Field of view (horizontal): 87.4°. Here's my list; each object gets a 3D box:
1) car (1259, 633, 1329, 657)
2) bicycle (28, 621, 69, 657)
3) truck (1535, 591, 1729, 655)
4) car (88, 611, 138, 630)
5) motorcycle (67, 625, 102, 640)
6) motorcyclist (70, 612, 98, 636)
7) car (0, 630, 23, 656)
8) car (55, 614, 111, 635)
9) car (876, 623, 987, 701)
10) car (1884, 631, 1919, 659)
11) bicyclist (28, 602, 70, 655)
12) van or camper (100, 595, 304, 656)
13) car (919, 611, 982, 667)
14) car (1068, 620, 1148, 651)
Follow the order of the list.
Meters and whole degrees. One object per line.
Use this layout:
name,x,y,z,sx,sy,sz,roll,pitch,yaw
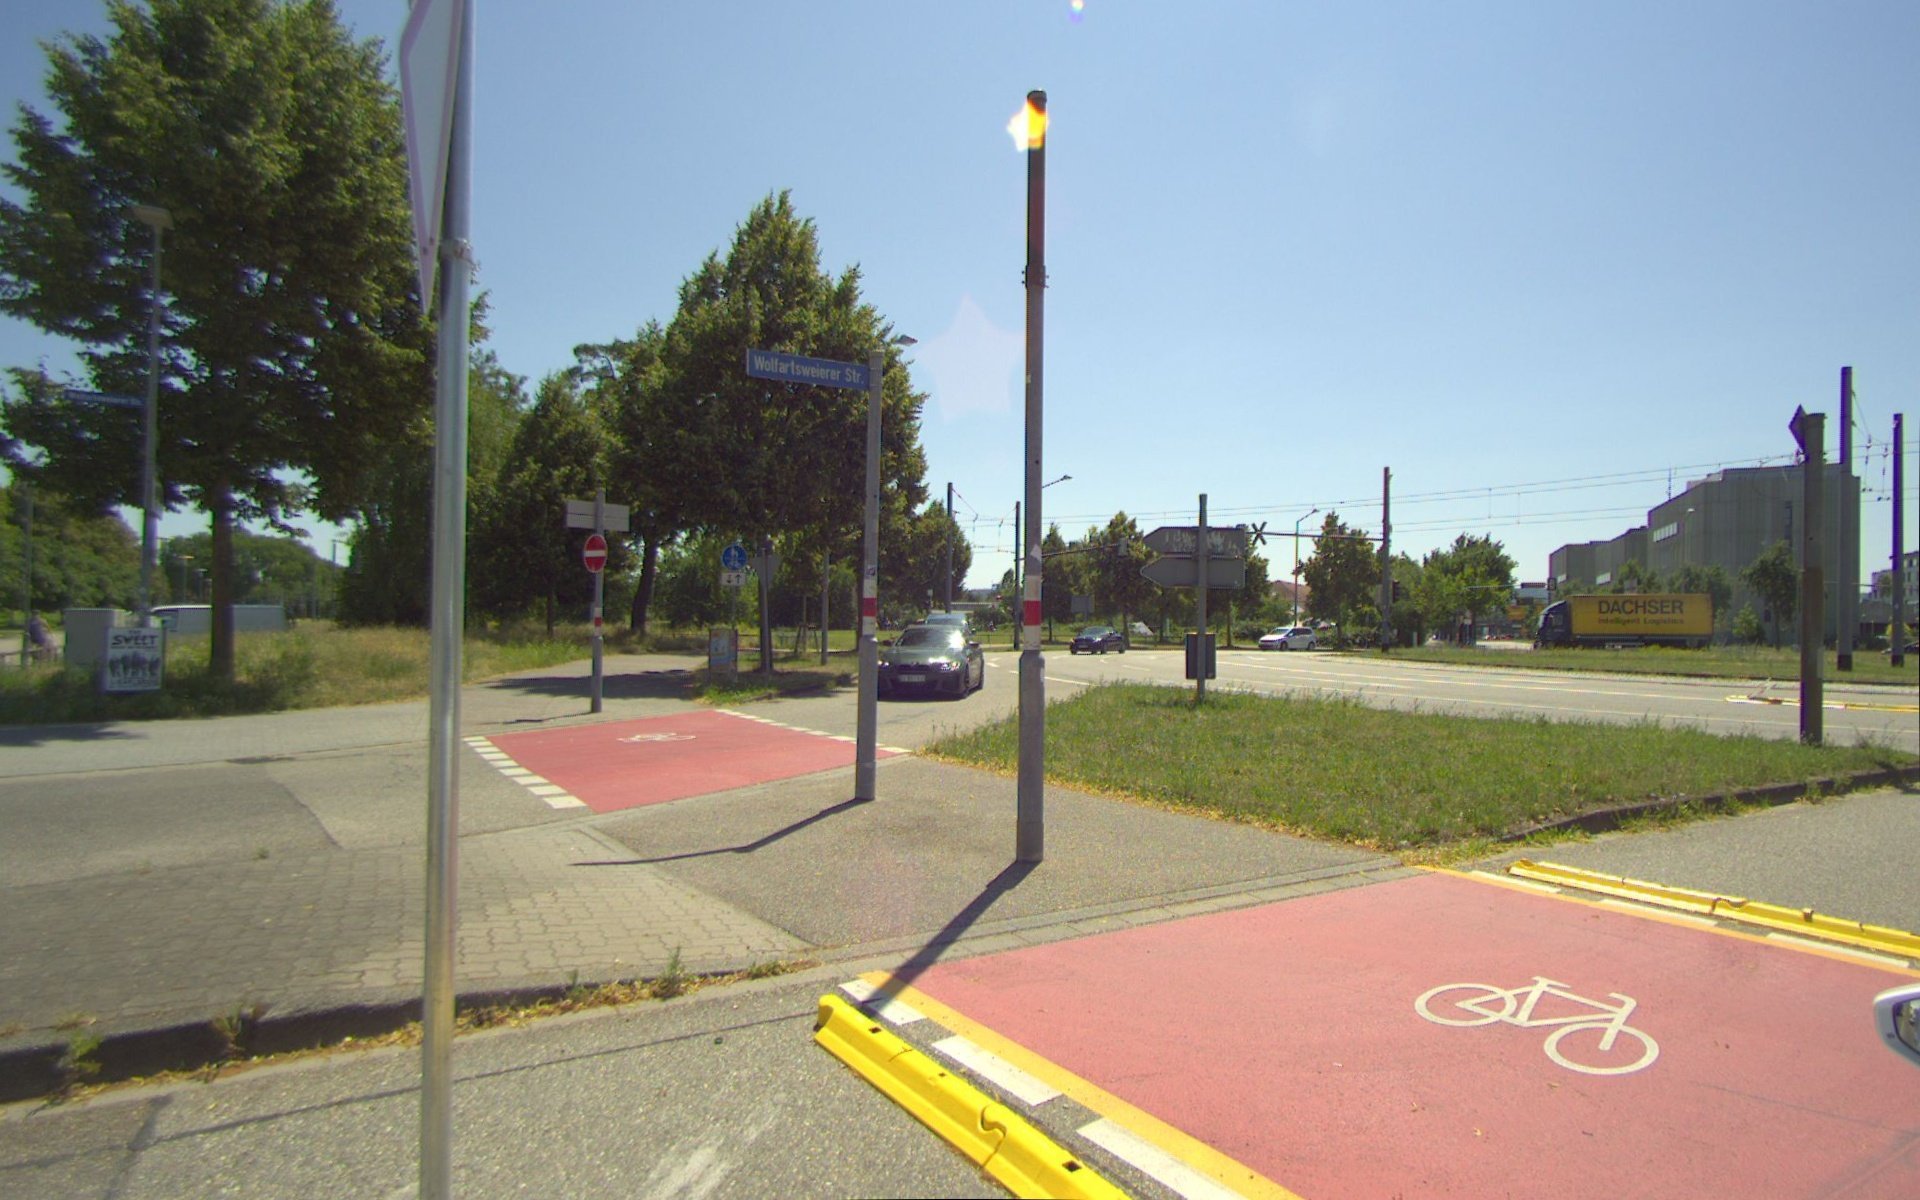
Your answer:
car,22.309,2.984,67.093,4.971,1.473,1.809,2,-1,-34
bicycle,-29.261,1.242,32.273,0.544,1.127,1.664,4,-2,-29
truck,40.685,1.366,61.197,9.424,3.707,2.708,0,-1,18
car,-96.264,2.348,114.196,3.952,2.040,1.985,2,-1,-29
motorcycle,-59.737,2.211,68.565,1.358,0.934,3.195,2,-1,-34
motorcyclist,-59.374,1.635,68.092,1.242,1.630,1.427,2,-1,-35
car,-51.843,2.275,53.592,2.498,1.376,1.075,1,-1,-29
car,-90.256,2.510,103.420,3.952,2.040,1.985,2,-1,-29
car,-0.480,1.215,21.197,1.688,1.430,4.621,1,-1,6
car,52.812,2.474,54.255,3.978,1.480,1.726,0,-1,32
bicyclist,-29.274,0.914,32.302,0.706,1.659,0.967,4,-2,-29
van or camper,-24.875,0.854,33.204,5.223,1.882,1.979,2,-2,-37
car,-0.263,1.355,35.527,1.655,1.792,4.207,-2,-2,7
car,7.557,1.780,50.897,1.828,1.455,4.936,0,-1,37
